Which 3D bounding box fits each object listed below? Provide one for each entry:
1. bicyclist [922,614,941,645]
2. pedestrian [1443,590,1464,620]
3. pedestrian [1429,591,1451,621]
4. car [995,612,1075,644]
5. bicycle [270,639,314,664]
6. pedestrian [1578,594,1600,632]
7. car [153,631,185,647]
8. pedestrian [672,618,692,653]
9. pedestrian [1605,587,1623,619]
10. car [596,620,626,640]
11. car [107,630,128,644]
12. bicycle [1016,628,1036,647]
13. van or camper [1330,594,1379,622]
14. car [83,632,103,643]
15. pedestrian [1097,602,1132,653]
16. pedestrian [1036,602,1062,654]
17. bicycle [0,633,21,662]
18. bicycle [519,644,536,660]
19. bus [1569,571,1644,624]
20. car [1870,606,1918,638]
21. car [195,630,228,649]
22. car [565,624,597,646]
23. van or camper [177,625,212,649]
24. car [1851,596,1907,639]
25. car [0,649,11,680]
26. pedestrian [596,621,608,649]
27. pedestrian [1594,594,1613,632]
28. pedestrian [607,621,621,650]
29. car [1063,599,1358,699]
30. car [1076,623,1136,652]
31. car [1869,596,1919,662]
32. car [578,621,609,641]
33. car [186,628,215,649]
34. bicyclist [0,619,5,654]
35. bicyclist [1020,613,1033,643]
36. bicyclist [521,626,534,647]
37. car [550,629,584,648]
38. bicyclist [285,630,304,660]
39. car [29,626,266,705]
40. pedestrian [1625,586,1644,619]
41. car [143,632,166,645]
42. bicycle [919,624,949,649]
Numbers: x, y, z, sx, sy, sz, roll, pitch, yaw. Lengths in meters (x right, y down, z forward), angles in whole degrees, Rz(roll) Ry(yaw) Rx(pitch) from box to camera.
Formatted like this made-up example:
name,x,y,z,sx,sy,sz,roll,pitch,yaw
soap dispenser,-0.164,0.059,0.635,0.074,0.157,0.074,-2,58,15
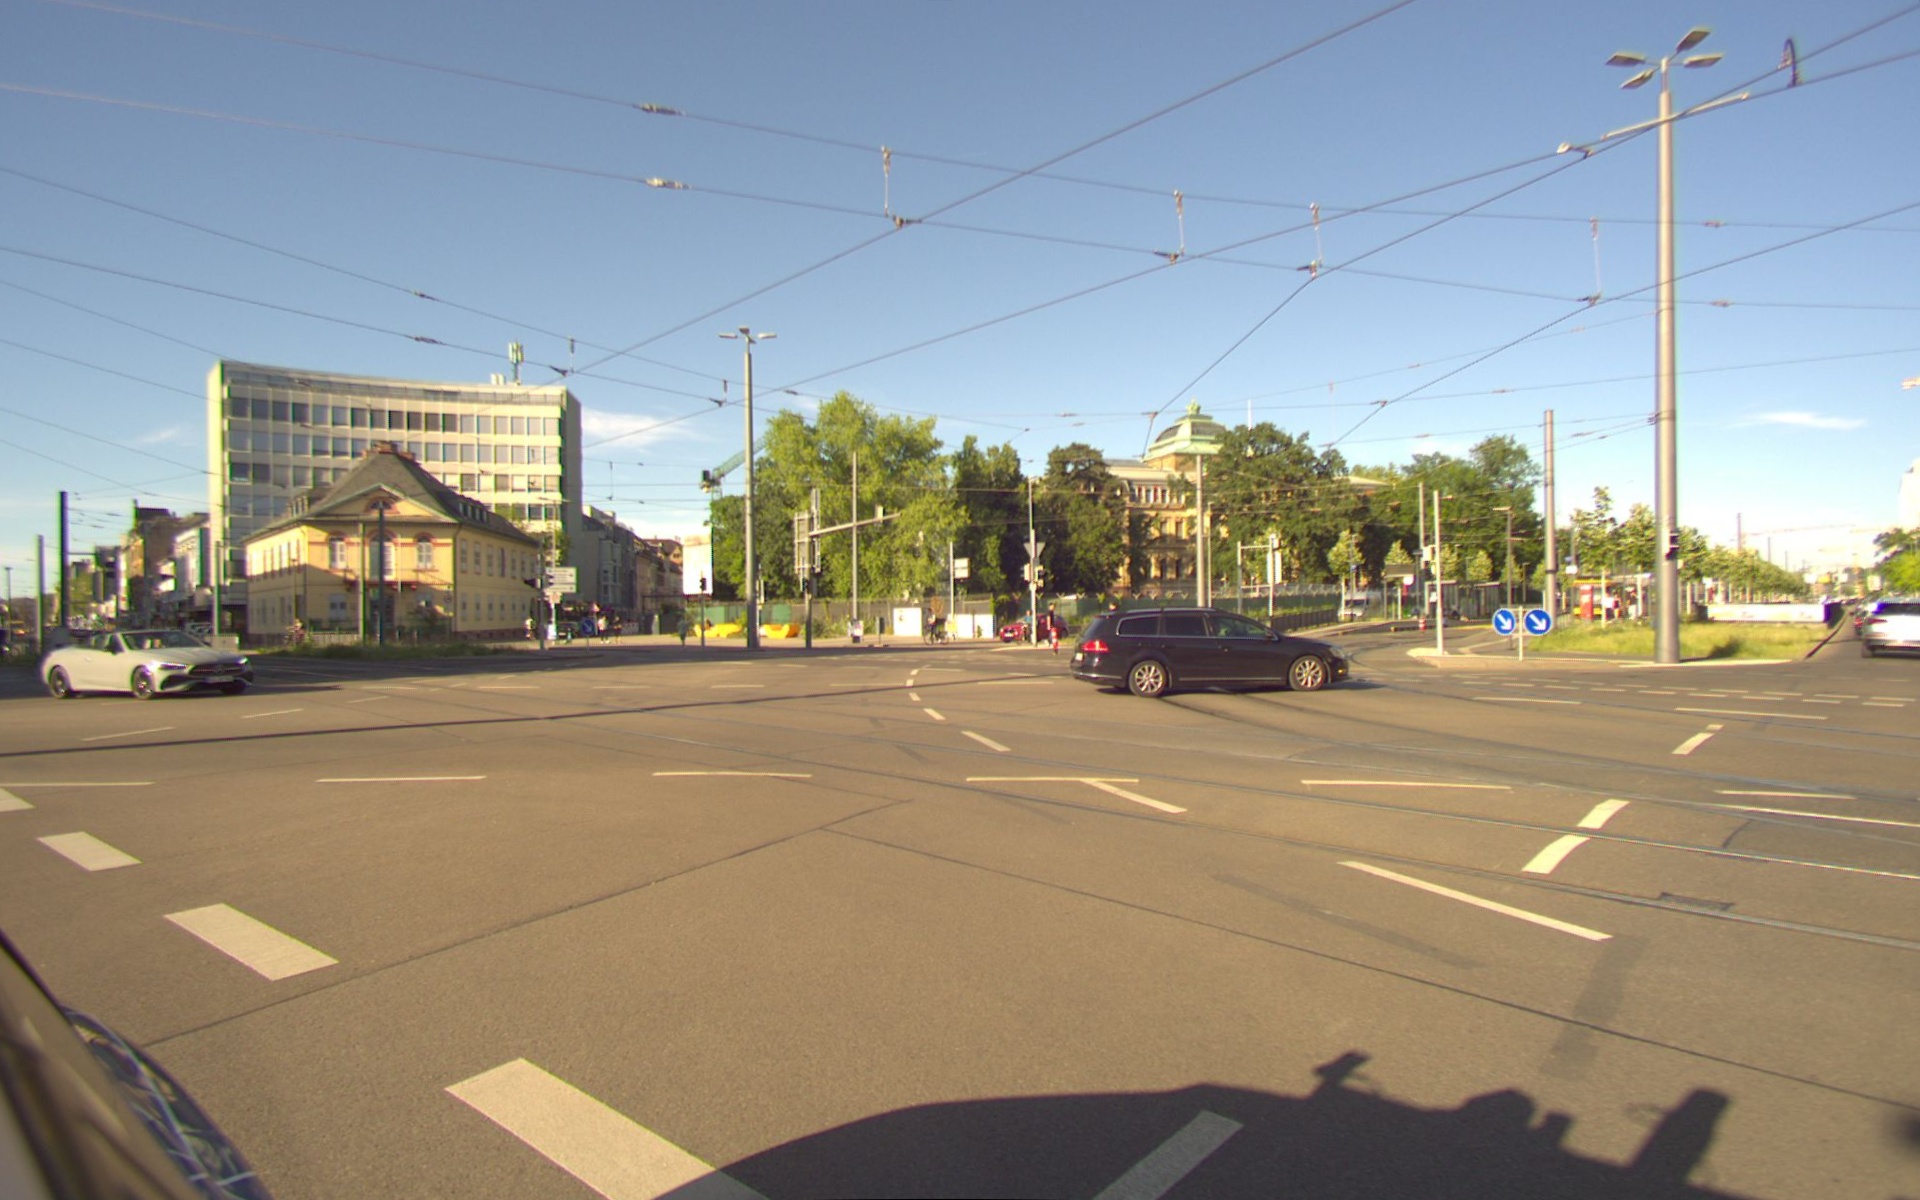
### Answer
name,x,y,z,sx,sy,sz,roll,pitch,yaw
bicyclist,-1.404,1.454,49.822,0.610,1.504,0.608,-2,-1,42
pedestrian,34.496,0.340,70.742,0.909,2.025,0.899,-1,-1,-33
pedestrian,32.720,0.390,69.011,1.087,2.029,1.001,-2,-1,40
car,3.835,1.412,50.965,1.780,1.521,4.505,-2,-2,39
bicycle,-37.556,2.893,56.938,1.992,1.301,0.577,-1,0,-25
pedestrian,33.910,0.701,54.591,0.803,2.025,0.796,-2,-1,44
car,-78.911,3.841,100.909,4.294,1.463,1.904,-2,1,43
pedestrian,-13.904,1.793,50.645,0.704,1.701,0.619,-4,-2,37
pedestrian,41.789,0.208,64.637,0.922,2.025,1.000,-2,-1,34
car,-33.140,2.829,96.126,1.775,1.683,3.759,-1,0,-3
car,-97.143,4.243,116.673,1.665,1.572,4.126,-1,-1,-43
bicycle,2.942,1.659,45.047,0.319,0.769,1.163,-2,0,32
van or camper,29.294,0.573,75.102,1.980,2.016,4.296,-2,0,41
car,-123.079,5.267,143.662,4.672,1.521,1.756,-2,-3,45
pedestrian,5.332,0.935,34.952,0.930,1.723,0.687,-2,-1,43
pedestrian,3.433,1.066,39.082,0.712,1.948,0.801,-1,-1,-21
bicycle,-42.275,2.099,44.196,0.641,1.221,1.802,-2,-1,39
bicycle,-30.873,3.700,72.272,0.641,1.021,1.889,-1,0,-9
bus,46.697,-0.215,72.960,2.951,3.590,9.296,-2,0,42
car,49.072,1.140,53.159,1.731,1.563,3.424,-2,0,44
car,-61.430,3.204,83.069,1.755,1.450,3.966,-3,1,-42
car,-32.145,2.936,86.010,1.863,1.683,3.872,-1,0,-10
van or camper,-69.319,3.304,91.592,1.932,1.988,4.801,-3,1,-43
car,37.311,0.709,41.130,1.577,1.630,3.731,-2,0,42
car,-56.168,3.722,58.509,1.757,1.676,3.966,1,-2,-42
pedestrian,-23.362,2.275,65.985,0.586,1.831,0.707,-1,-1,-31
pedestrian,34.222,0.684,53.852,0.800,2.025,0.798,-2,-1,34
pedestrian,-22.726,2.314,66.447,0.695,1.865,0.742,-1,-1,-31
car,4.117,0.797,17.130,4.462,1.455,1.771,-2,-1,-2
car,8.182,2.075,56.576,1.575,1.483,3.661,-2,0,42
car,25.729,0.736,27.206,1.844,1.647,3.438,-2,0,41
car,-33.004,2.798,91.167,1.774,1.683,3.761,-1,0,-6
car,-65.503,3.297,87.250,1.755,1.632,4.182,-3,1,-40
bicyclist,-42.259,1.609,44.237,0.634,1.535,0.674,-2,-1,40
bicyclist,2.964,1.255,45.070,0.399,1.325,0.455,-2,-1,33
bicyclist,-30.898,2.617,72.254,0.655,1.465,0.732,-1,0,-9
car,-31.221,3.034,80.449,1.625,1.357,3.766,-1,0,-7
bicyclist,-37.481,2.510,56.983,0.792,1.661,0.592,0,0,-25
car,-16.803,1.307,20.904,4.745,1.450,1.855,-1,-1,24
pedestrian,42.669,0.162,64.055,0.922,2.025,1.000,-2,-1,34
car,-94.320,4.445,118.542,1.761,1.427,3.600,-1,-1,-44
bicycle,-1.271,1.802,49.961,0.612,1.142,1.479,-2,-1,43
